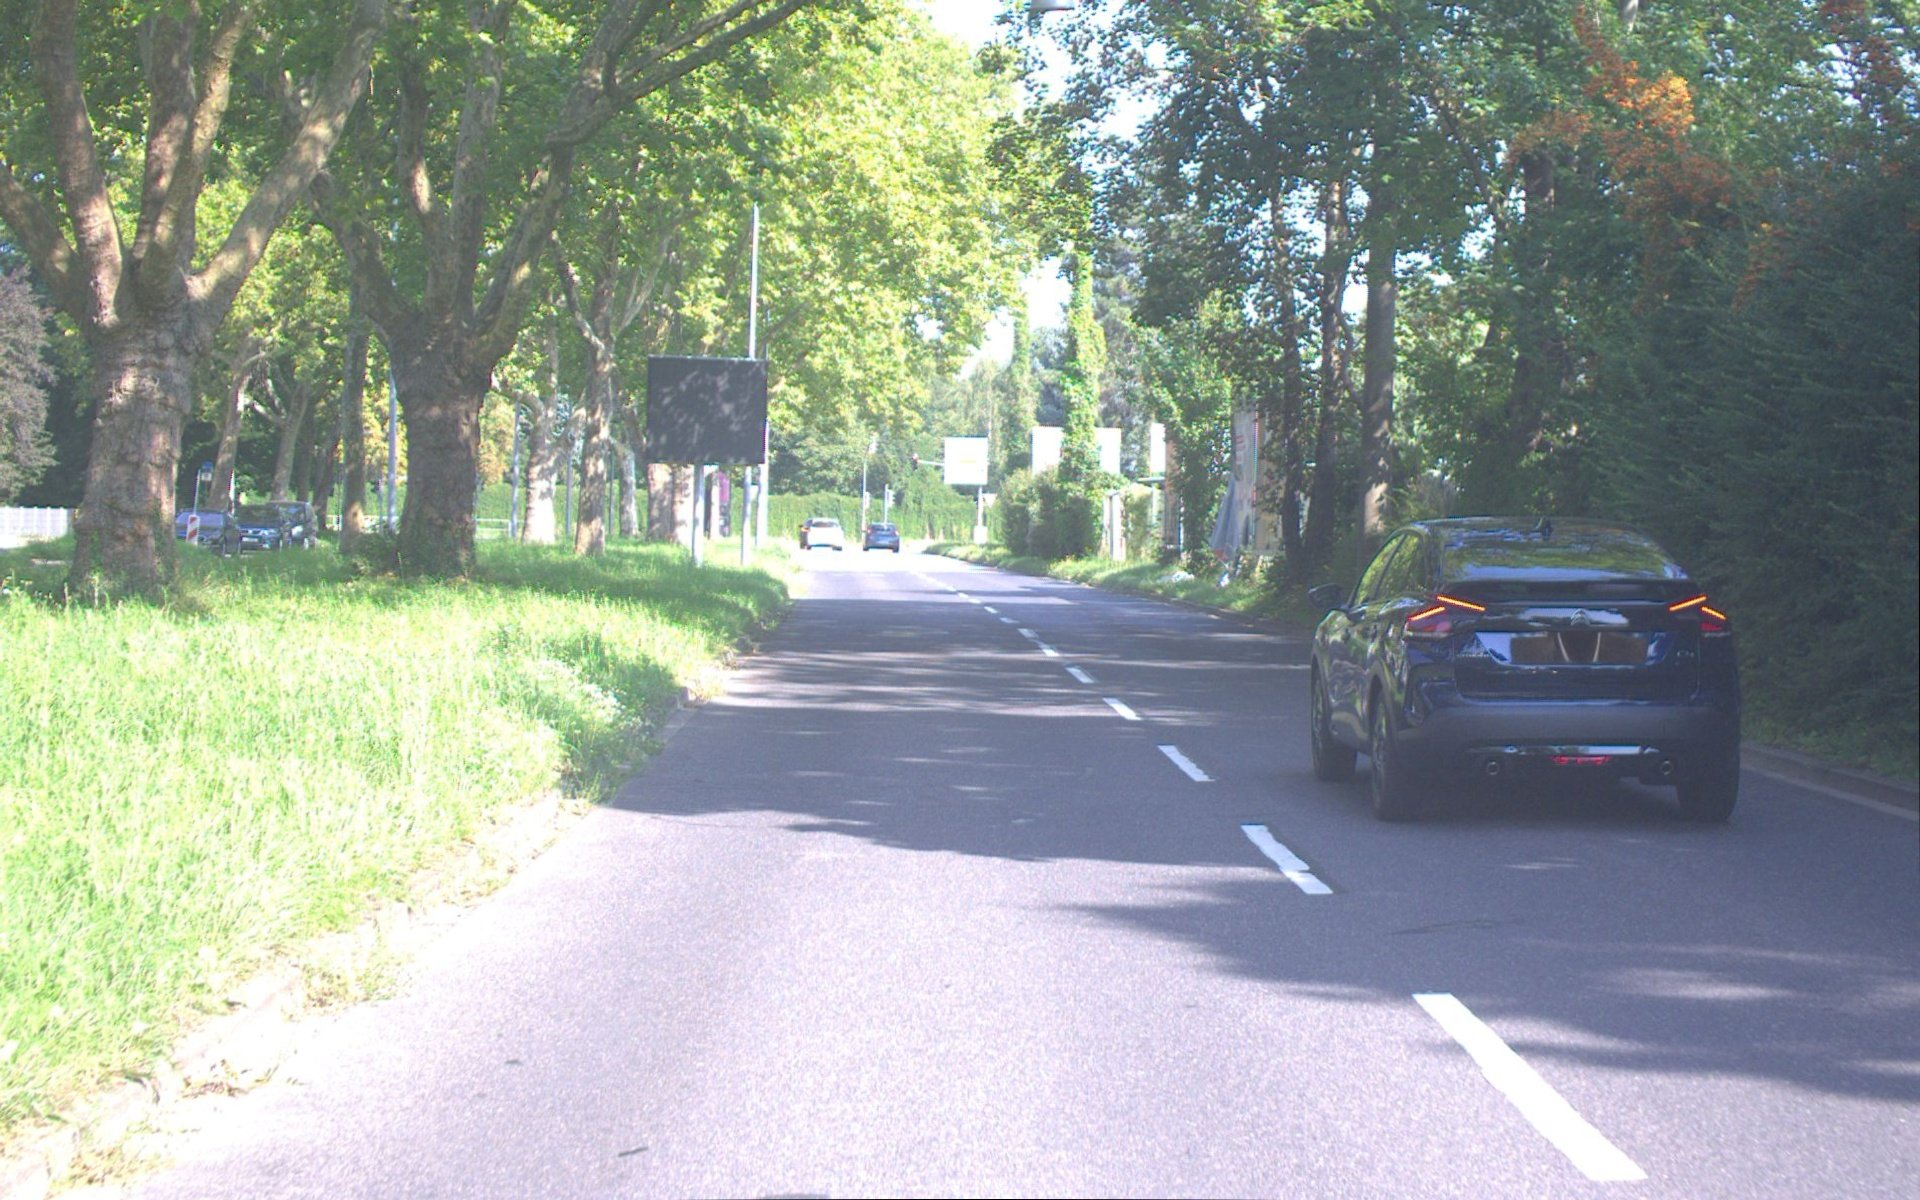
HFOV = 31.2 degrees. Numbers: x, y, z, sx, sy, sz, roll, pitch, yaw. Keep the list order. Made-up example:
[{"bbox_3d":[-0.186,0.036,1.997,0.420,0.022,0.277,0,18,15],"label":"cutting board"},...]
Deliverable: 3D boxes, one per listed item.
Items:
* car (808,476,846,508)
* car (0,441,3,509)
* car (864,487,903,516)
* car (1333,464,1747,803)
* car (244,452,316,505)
[{"bbox_3d":[-6.317,-5.121,163.593,1.687,1.457,4.001,2,2,-2],"label":"car"},{"bbox_3d":[-20.986,-2.578,70.172,1.802,1.425,4.065,2,2,-1],"label":"car"},{"bbox_3d":[-3.872,-4.957,173.486,1.797,1.396,4.001,2,2,-3],"label":"car"},{"bbox_3d":[2.971,0.099,18.393,1.645,1.582,4.255,1,2,3],"label":"car"},{"bbox_3d":[-23.510,-4.196,119.021,1.699,1.726,4.660,2,2,-2],"label":"car"}]
